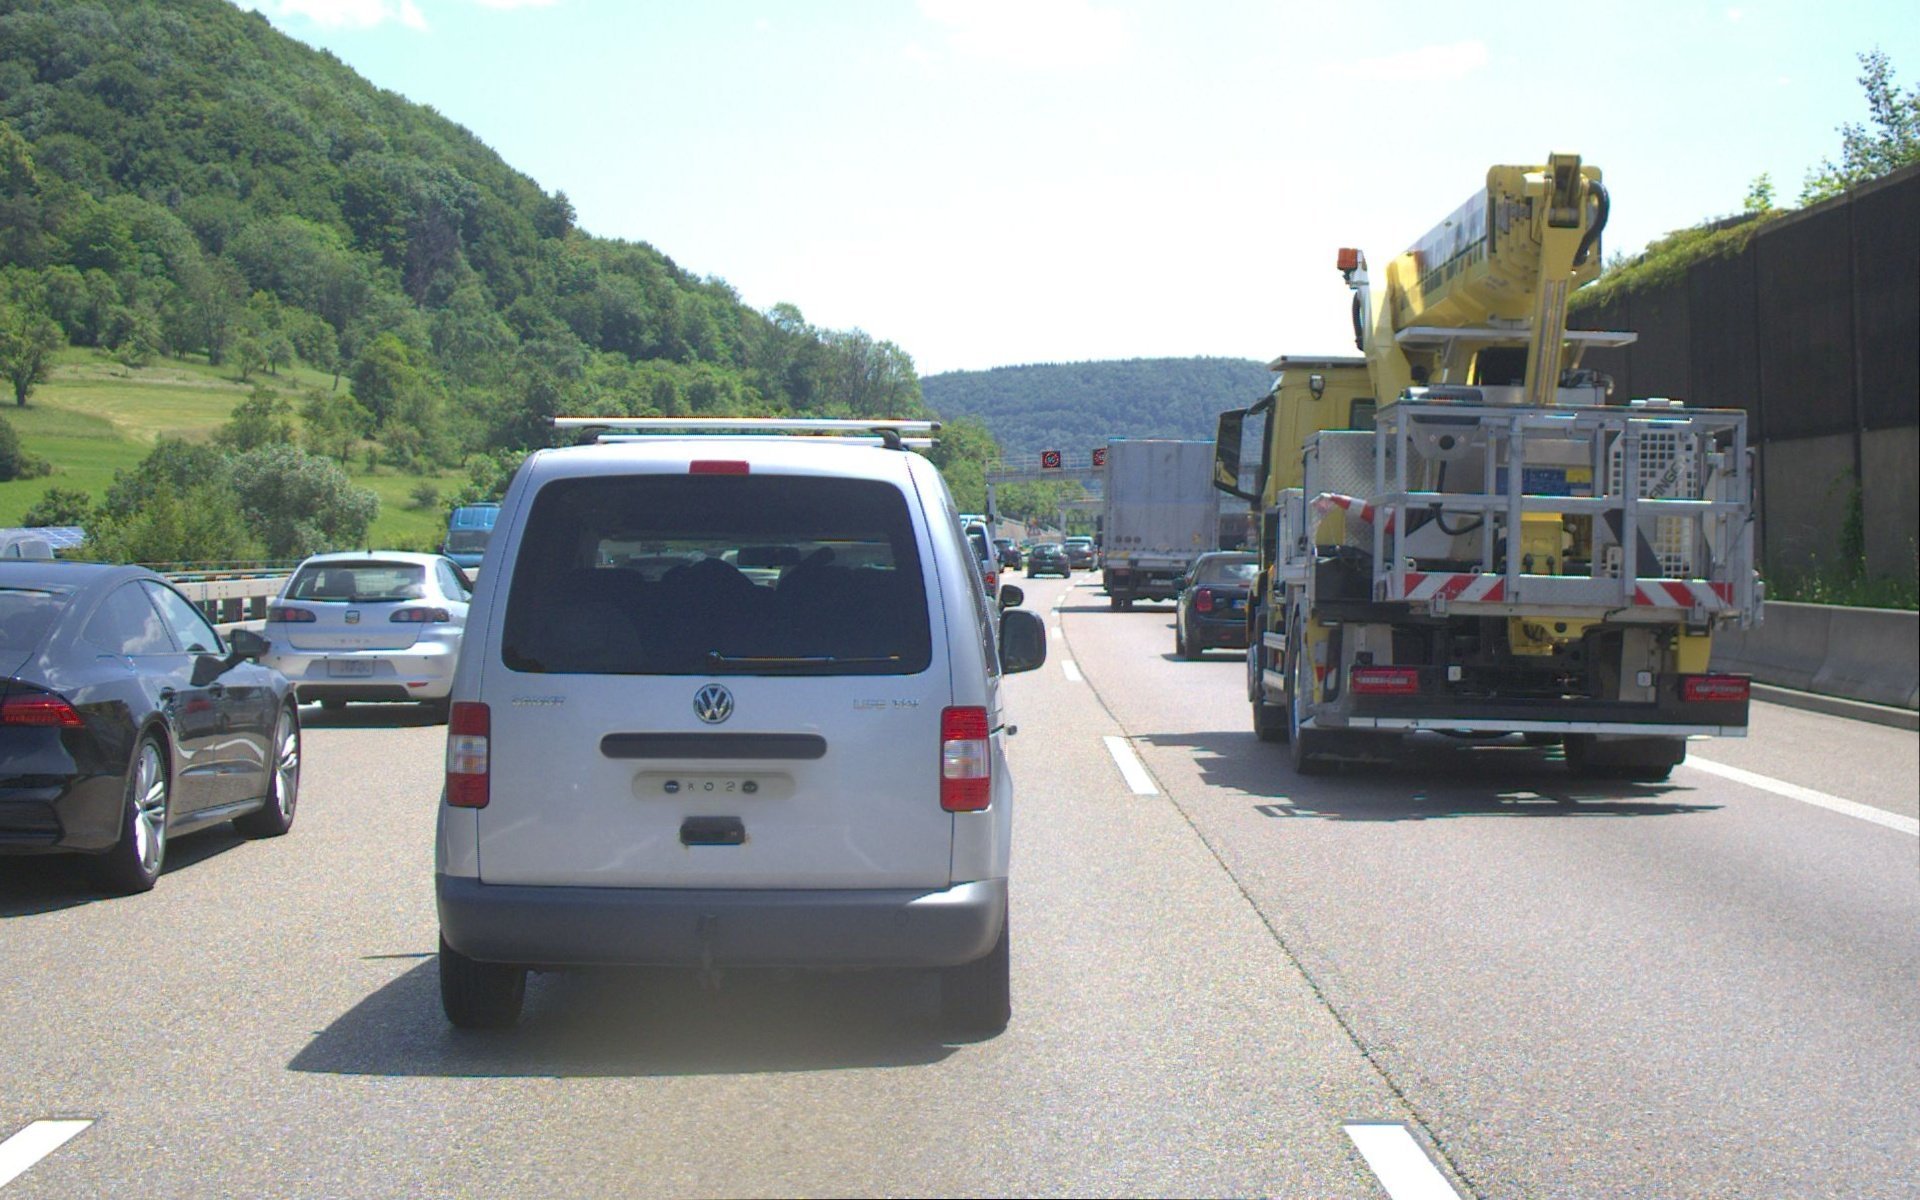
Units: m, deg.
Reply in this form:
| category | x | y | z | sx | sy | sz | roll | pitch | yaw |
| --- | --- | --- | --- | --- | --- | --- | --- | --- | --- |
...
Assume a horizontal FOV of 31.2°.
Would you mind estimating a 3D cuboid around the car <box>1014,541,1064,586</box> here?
| category | x | y | z | sx | sy | sz | roll | pitch | yaw |
| --- | --- | --- | --- | --- | --- | --- | --- | --- | --- |
| car | 3.191 | -1.480 | 139.689 | 1.993 | 1.743 | 4.000 | 1 | 0 | 1 |

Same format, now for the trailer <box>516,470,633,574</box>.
| category | x | y | z | sx | sy | sz | roll | pitch | yaw |
| --- | --- | --- | --- | --- | --- | --- | --- | --- | --- |
| trailer | -16.293 | -3.224 | 146.150 | 3.247 | 4.190 | 13.000 | 1 | 0 | 1 |

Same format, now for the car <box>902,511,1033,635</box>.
| category | x | y | z | sx | sy | sz | roll | pitch | yaw |
| --- | --- | --- | --- | --- | --- | --- | --- | --- | --- |
| car | 0.085 | -0.466 | 56.675 | 1.993 | 1.969 | 4.001 | 0 | 1 | -2 |

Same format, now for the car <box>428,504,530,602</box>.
| category | x | y | z | sx | sy | sz | roll | pitch | yaw |
| --- | --- | --- | --- | --- | --- | --- | --- | --- | --- |
| car | -14.631 | -1.416 | 104.857 | 2.155 | 2.852 | 6.399 | 1 | 0 | 0 |

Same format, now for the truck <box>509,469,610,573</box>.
| category | x | y | z | sx | sy | sz | roll | pitch | yaw |
| --- | --- | --- | --- | --- | --- | --- | --- | --- | --- |
| truck | -16.311 | -3.174 | 140.457 | 3.278 | 4.134 | 6.955 | 0 | 0 | 0 |

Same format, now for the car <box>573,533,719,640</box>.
| category | x | y | z | sx | sy | sz | roll | pitch | yaw |
| --- | --- | --- | --- | --- | --- | --- | --- | --- | --- |
| car | -4.587 | -0.219 | 50.745 | 1.924 | 1.494 | 4.001 | 1 | 1 | -2 |

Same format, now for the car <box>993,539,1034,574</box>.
| category | x | y | z | sx | sy | sz | roll | pitch | yaw |
| --- | --- | --- | --- | --- | --- | --- | --- | --- | --- |
| car | 2.846 | -2.308 | 183.657 | 1.993 | 1.799 | 4.000 | 1 | 0 | -1 |

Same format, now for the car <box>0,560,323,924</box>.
| category | x | y | z | sx | sy | sz | roll | pitch | yaw |
| --- | --- | --- | --- | --- | --- | --- | --- | --- | --- |
| car | -4.285 | 0.526 | 15.845 | 1.800 | 1.385 | 4.970 | 0 | 1 | 0 |

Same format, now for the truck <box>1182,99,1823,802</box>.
| category | x | y | z | sx | sy | sz | roll | pitch | yaw |
| --- | --- | --- | --- | --- | --- | --- | --- | --- | --- |
| truck | 3.325 | -0.911 | 23.631 | 2.703 | 3.929 | 8.723 | 0 | 1 | -2 |

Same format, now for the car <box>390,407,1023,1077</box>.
| category | x | y | z | sx | sy | sz | roll | pitch | yaw |
| --- | --- | --- | --- | --- | --- | --- | --- | --- | --- |
| car | -0.779 | 0.359 | 11.572 | 1.756 | 1.861 | 4.001 | 0 | 1 | -2 |

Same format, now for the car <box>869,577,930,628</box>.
| category | x | y | z | sx | sy | sz | roll | pitch | yaw |
| --- | --- | --- | --- | --- | --- | --- | --- | --- | --- |
| car | -2.222 | 0.083 | 126.748 | 2.114 | 1.821 | 4.000 | 1 | 0 | 1 |

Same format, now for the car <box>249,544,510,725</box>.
| category | x | y | z | sx | sy | sz | roll | pitch | yaw |
| --- | --- | --- | --- | --- | --- | --- | --- | --- | --- |
| car | -4.892 | 0.244 | 29.402 | 1.695 | 1.440 | 3.862 | 0 | 1 | -2 |

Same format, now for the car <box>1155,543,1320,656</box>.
| category | x | y | z | sx | sy | sz | roll | pitch | yaw |
| --- | --- | --- | --- | --- | --- | --- | --- | --- | --- |
| car | 3.697 | -0.038 | 46.352 | 1.786 | 1.453 | 3.771 | 0 | 1 | -2 |

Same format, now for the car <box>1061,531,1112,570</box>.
| category | x | y | z | sx | sy | sz | roll | pitch | yaw |
| --- | --- | --- | --- | --- | --- | --- | --- | --- | --- |
| car | 6.060 | -2.349 | 165.037 | 2.114 | 1.821 | 4.000 | 1 | 0 | -2 |

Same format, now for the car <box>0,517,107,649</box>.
| category | x | y | z | sx | sy | sz | roll | pitch | yaw |
| --- | --- | --- | --- | --- | --- | --- | --- | --- | --- |
| car | -14.079 | -0.285 | 50.411 | 1.993 | 1.847 | 4.407 | 1 | 1 | 1 |

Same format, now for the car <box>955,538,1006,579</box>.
| category | x | y | z | sx | sy | sz | roll | pitch | yaw |
| --- | --- | --- | --- | --- | --- | --- | --- | --- | --- |
| car | 0.920 | -1.922 | 158.385 | 2.114 | 1.821 | 4.000 | 1 | 0 | -2 |

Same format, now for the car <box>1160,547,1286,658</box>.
| category | x | y | z | sx | sy | sz | roll | pitch | yaw |
| --- | --- | --- | --- | --- | --- | --- | --- | --- | --- |
| car | 4.900 | 0.012 | 64.523 | 1.993 | 2.007 | 4.000 | 0 | 1 | -1 |

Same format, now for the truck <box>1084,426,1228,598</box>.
| category | x | y | z | sx | sy | sz | roll | pitch | yaw |
| --- | --- | --- | --- | --- | --- | --- | --- | --- | --- |
| truck | 4.553 | -2.017 | 81.286 | 2.940 | 3.810 | 8.237 | 1 | 0 | 0 |
